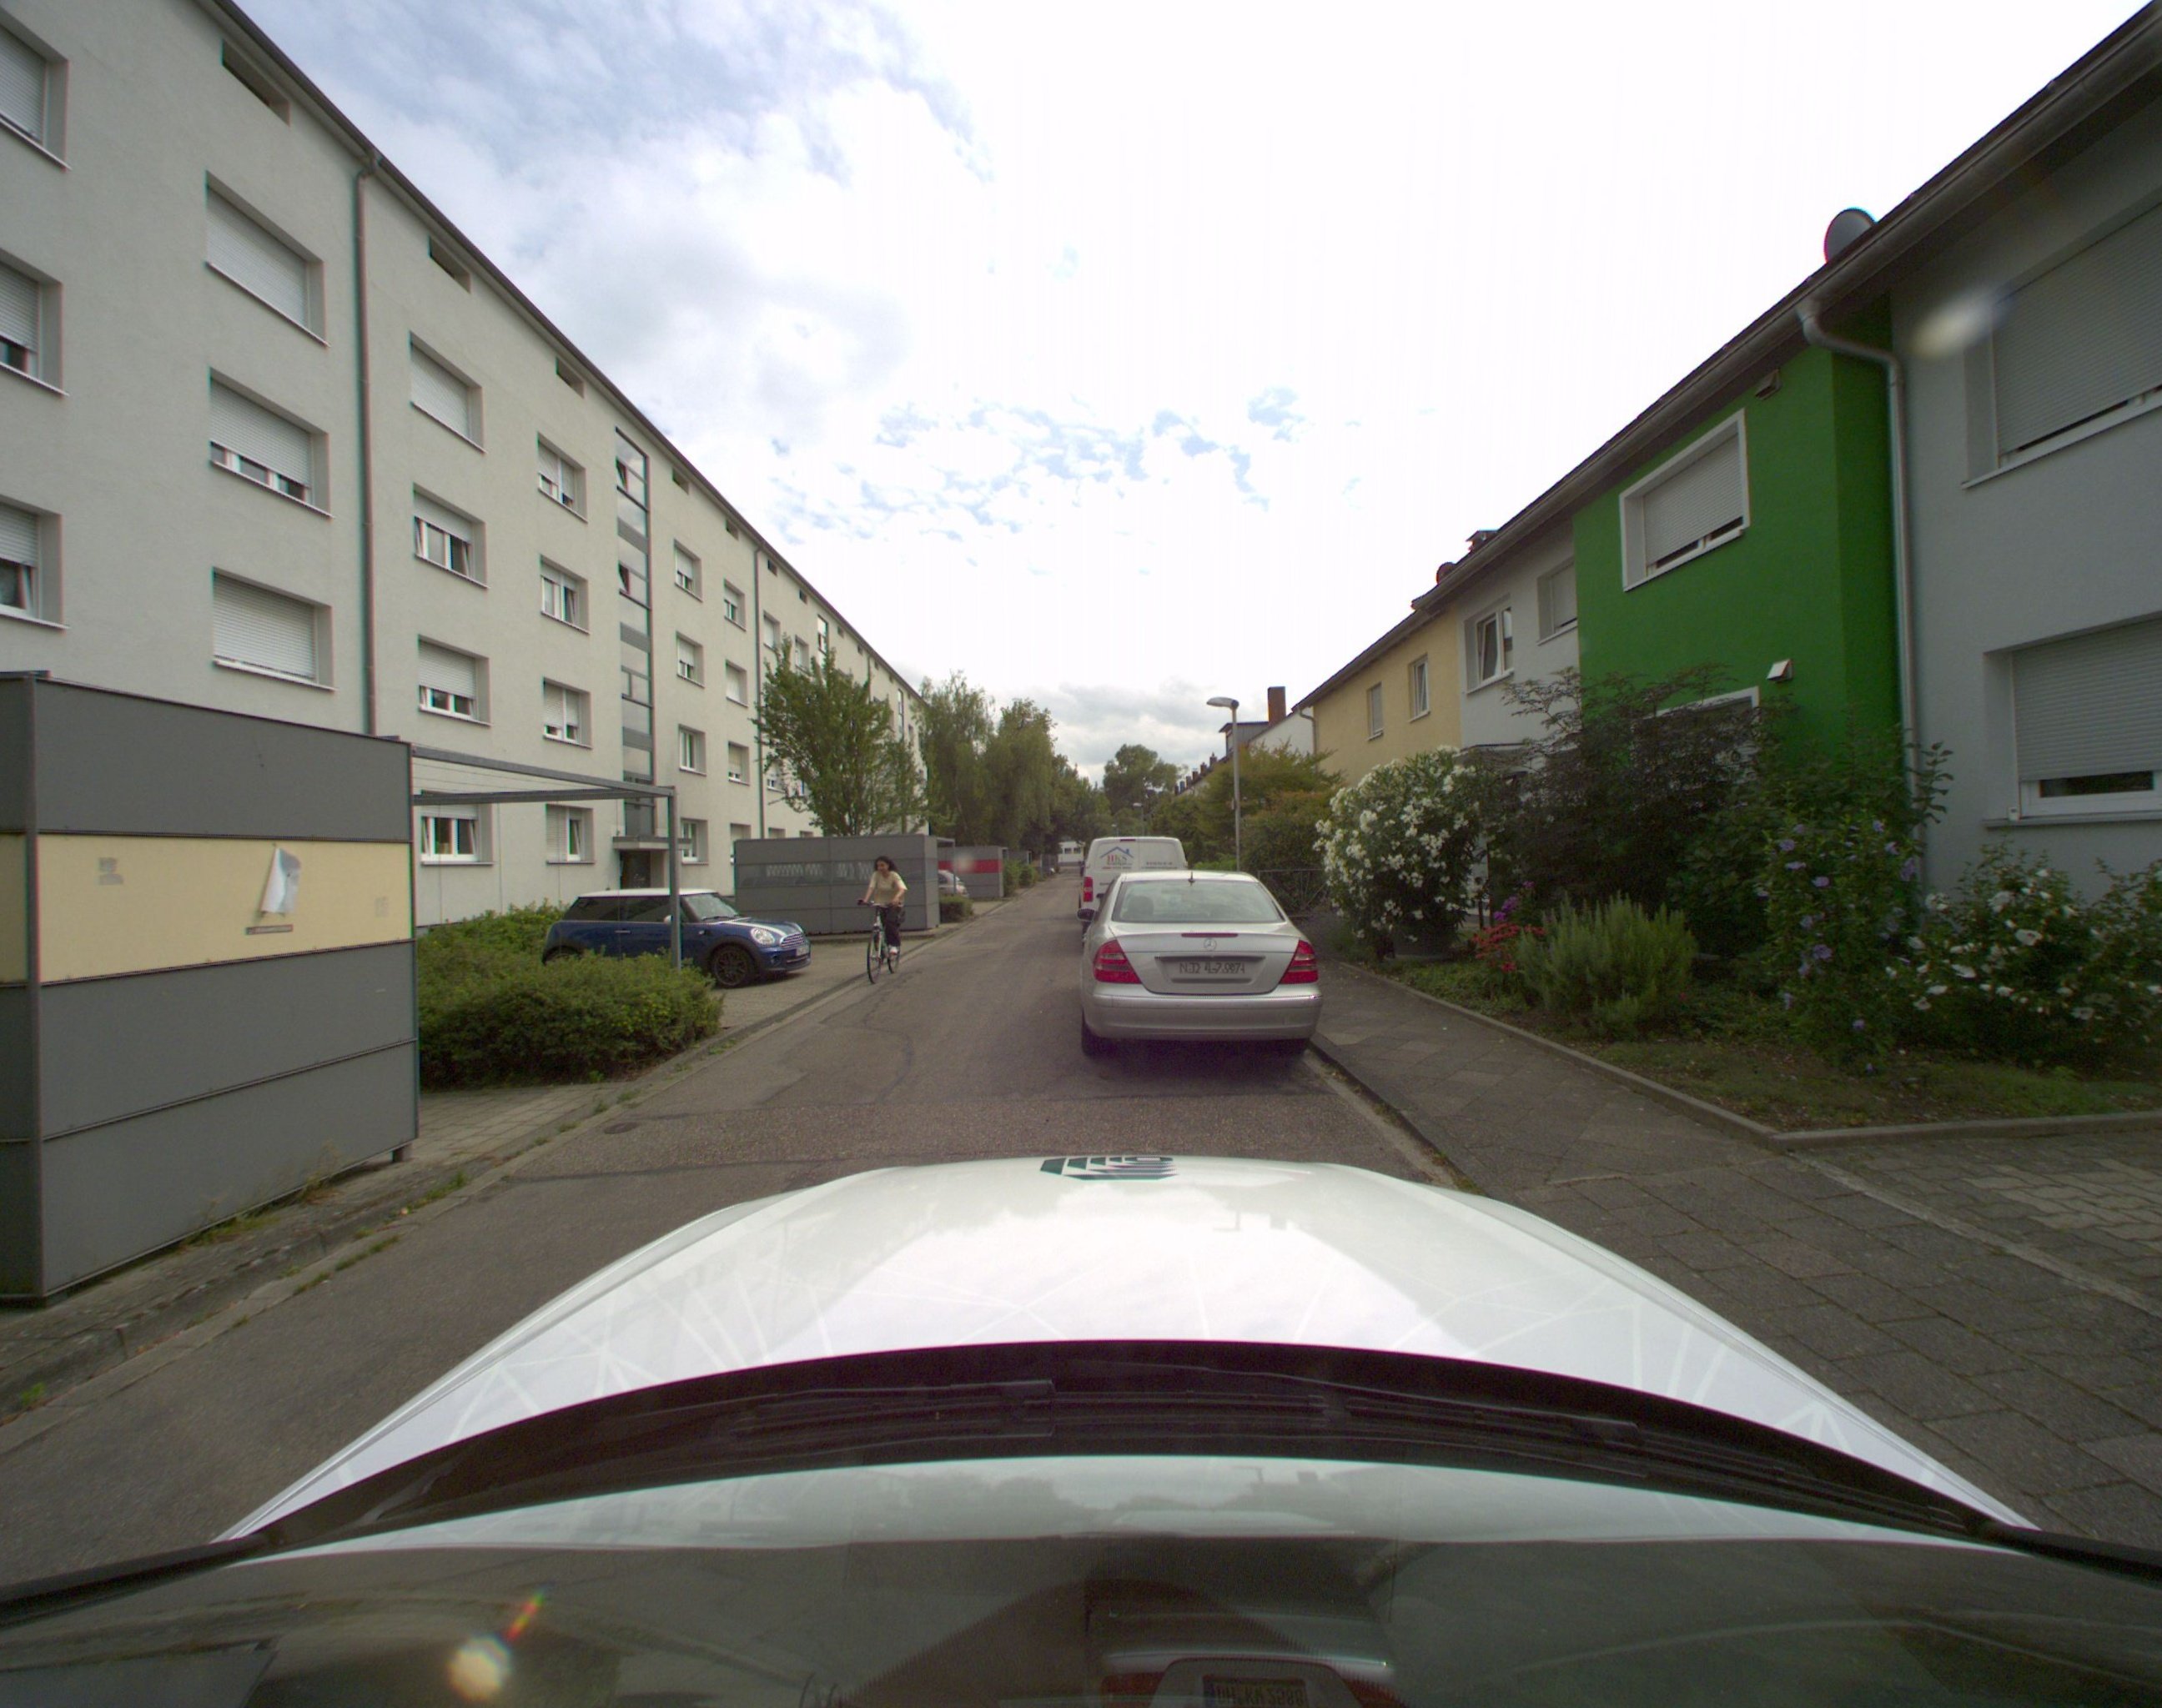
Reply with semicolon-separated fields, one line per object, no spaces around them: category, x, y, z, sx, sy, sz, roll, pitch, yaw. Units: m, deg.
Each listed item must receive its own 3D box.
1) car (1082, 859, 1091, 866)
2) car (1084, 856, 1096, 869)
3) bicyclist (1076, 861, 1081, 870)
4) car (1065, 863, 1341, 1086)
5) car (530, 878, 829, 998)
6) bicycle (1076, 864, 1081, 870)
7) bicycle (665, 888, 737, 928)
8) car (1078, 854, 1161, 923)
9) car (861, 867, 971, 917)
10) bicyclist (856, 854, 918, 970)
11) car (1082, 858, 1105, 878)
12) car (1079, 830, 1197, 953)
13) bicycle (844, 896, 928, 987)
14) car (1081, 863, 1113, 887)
car;1.169;1.712;165.501;1.819;1.581;4.000;0;0;1
car;1.450;1.264;124.576;1.819;1.883;4.000;0;0;1
bicyclist;-0.437;2.095;148.780;0.795;1.511;0.934;0;-1;2
car;0.869;0.812;7.547;1.777;1.421;4.457;-1;-1;2
car;-5.908;1.212;12.259;3.619;1.461;1.654;-3;-1;3
bicycle;-0.434;2.408;148.696;0.686;1.131;2.580;0;-1;2
bicycle;-11.016;1.558;23.654;1.820;1.024;0.473;-2;-1;-41
car;0.918;0.840;21.589;1.820;1.636;4.158;-1;-1;-3
car;-5.810;1.324;29.058;3.555;1.480;1.708;-3;0;-5
bicyclist;-2.767;0.804;11.678;0.595;1.581;0.767;-3;-1;1
car;1.024;1.140;67.994;1.820;1.581;3.998;0;0;-1
car;0.923;0.631;15.913;1.898;1.964;5.252;-1;-1;0
bicycle;-2.747;1.204;11.709;0.595;1.076;2.043;-3;-1;2
car;0.963;1.231;49.224;1.819;1.370;4.331;0;0;1
